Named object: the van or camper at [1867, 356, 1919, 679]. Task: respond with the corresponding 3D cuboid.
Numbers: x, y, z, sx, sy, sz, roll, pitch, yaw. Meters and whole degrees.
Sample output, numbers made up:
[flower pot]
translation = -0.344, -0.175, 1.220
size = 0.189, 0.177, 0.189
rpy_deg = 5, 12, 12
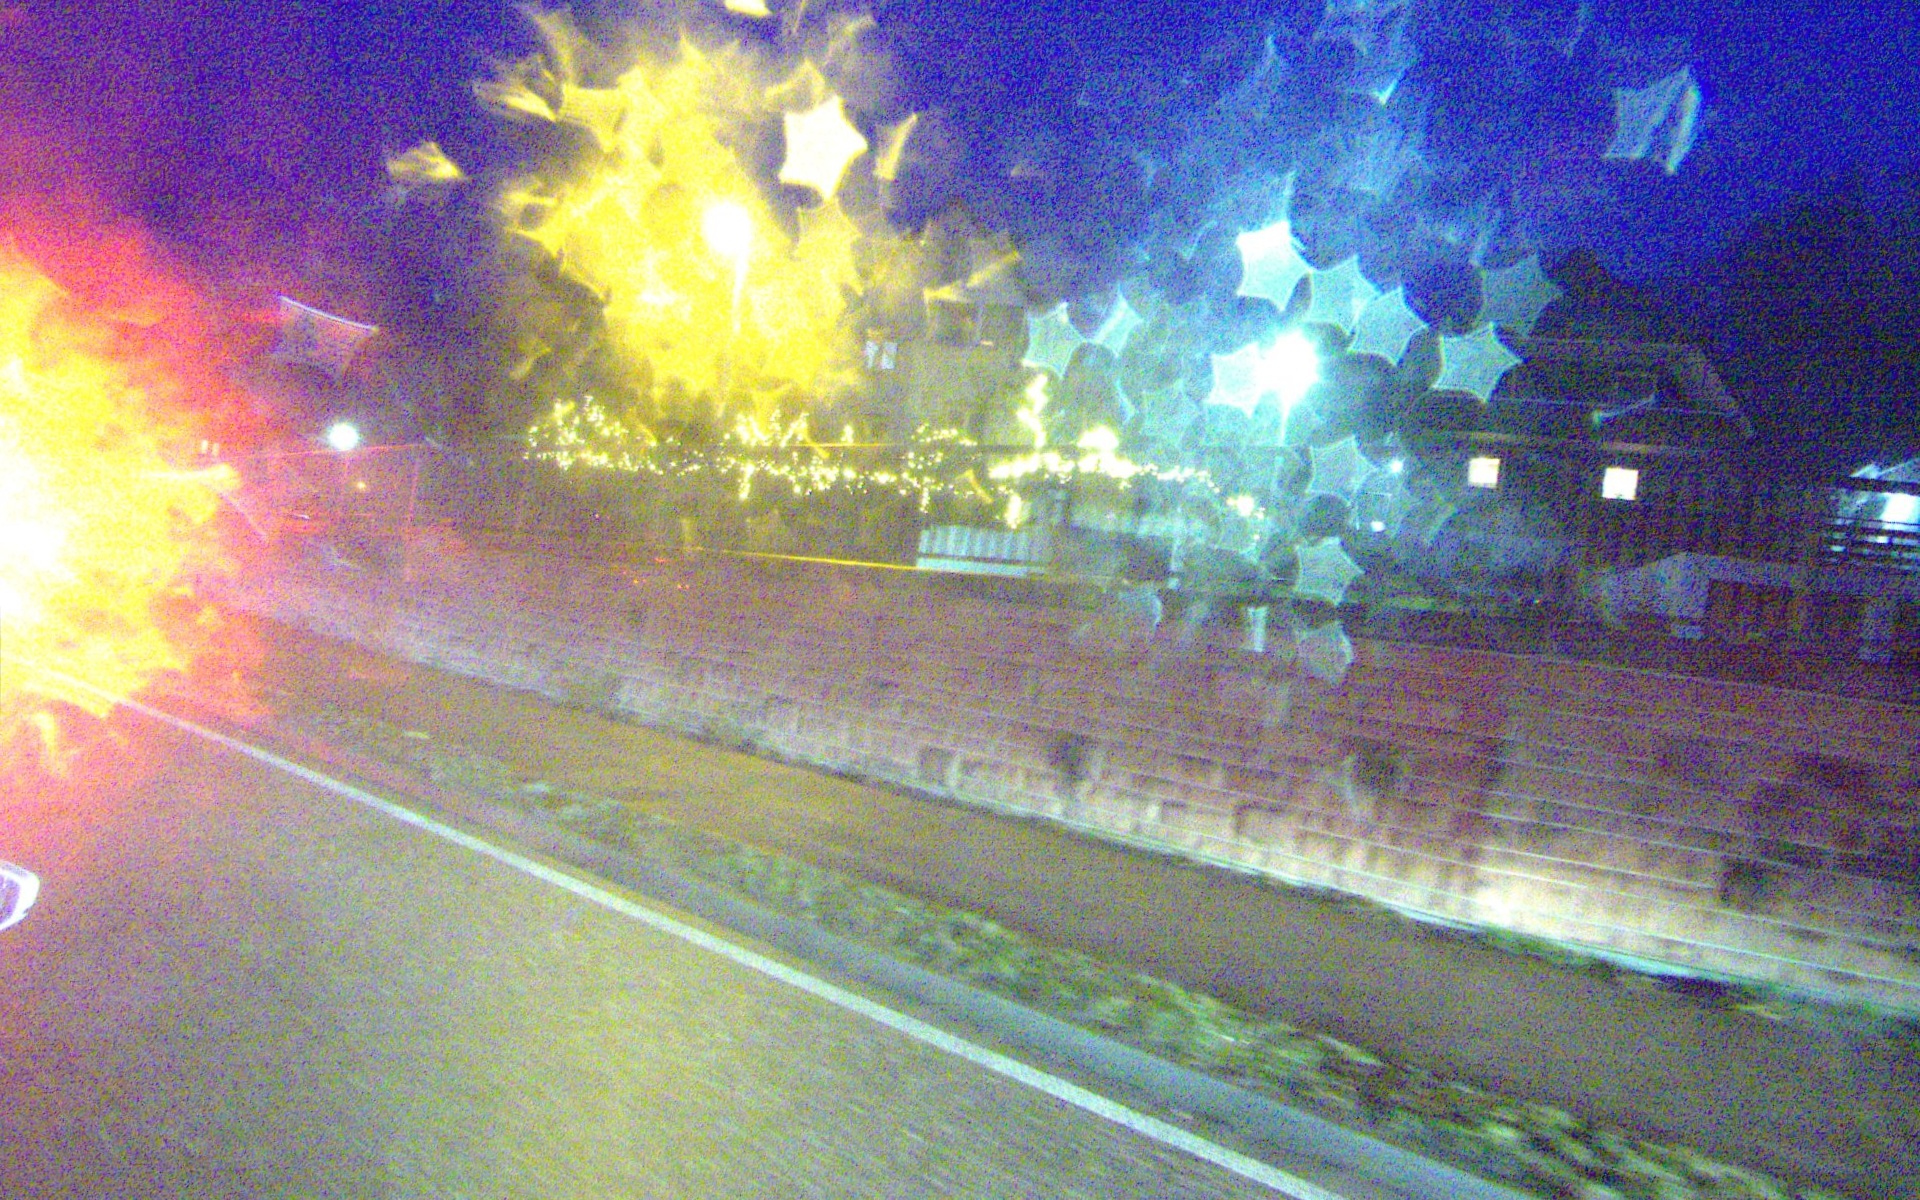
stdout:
[van or camper]
translation = 11.473, -0.443, 7.534
size = 6.237, 2.944, 2.590
rpy_deg = 7, 0, 12
